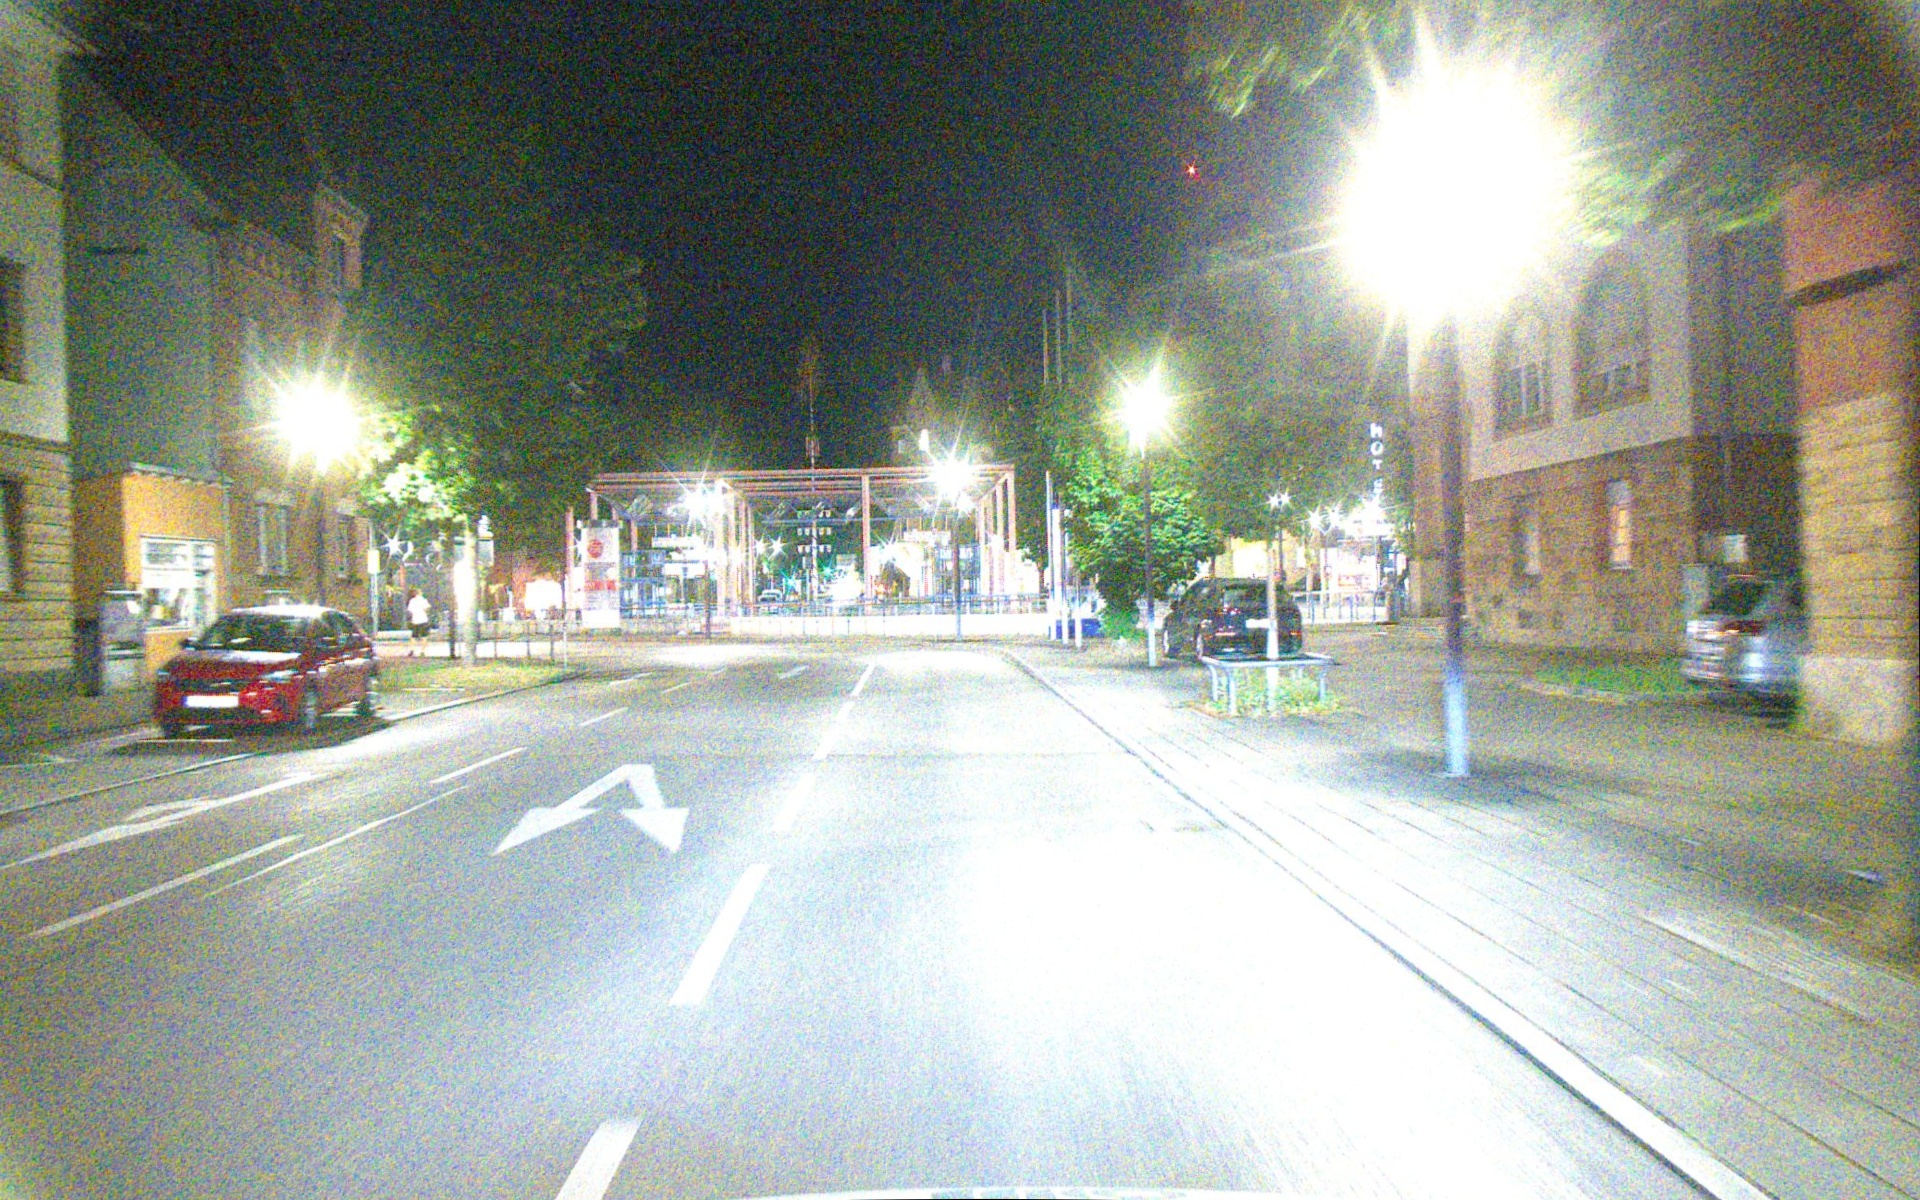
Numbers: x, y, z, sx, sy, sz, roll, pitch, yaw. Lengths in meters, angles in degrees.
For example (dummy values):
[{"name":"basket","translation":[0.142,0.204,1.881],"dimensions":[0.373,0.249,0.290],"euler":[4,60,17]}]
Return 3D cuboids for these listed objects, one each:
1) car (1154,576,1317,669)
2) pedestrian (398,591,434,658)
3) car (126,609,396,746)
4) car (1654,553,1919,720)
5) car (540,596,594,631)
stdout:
[{"name":"car","translation":[4.818,0.355,29.620],"dimensions":[1.700,1.485,4.722],"euler":[-1,0,-6]},{"name":"pedestrian","translation":[-15.025,0.677,45.672],"dimensions":[0.680,1.854,0.721],"euler":[-2,-2,42]},{"name":"car","translation":[-8.474,0.872,20.460],"dimensions":[1.749,1.440,4.124],"euler":[0,0,-3]},{"name":"car","translation":[9.519,0.287,16.587],"dimensions":[4.334,1.485,1.790],"euler":[-3,1,4]},{"name":"car","translation":[-19.322,0.651,81.544],"dimensions":[1.955,1.601,4.323],"euler":[-2,0,-6]}]
